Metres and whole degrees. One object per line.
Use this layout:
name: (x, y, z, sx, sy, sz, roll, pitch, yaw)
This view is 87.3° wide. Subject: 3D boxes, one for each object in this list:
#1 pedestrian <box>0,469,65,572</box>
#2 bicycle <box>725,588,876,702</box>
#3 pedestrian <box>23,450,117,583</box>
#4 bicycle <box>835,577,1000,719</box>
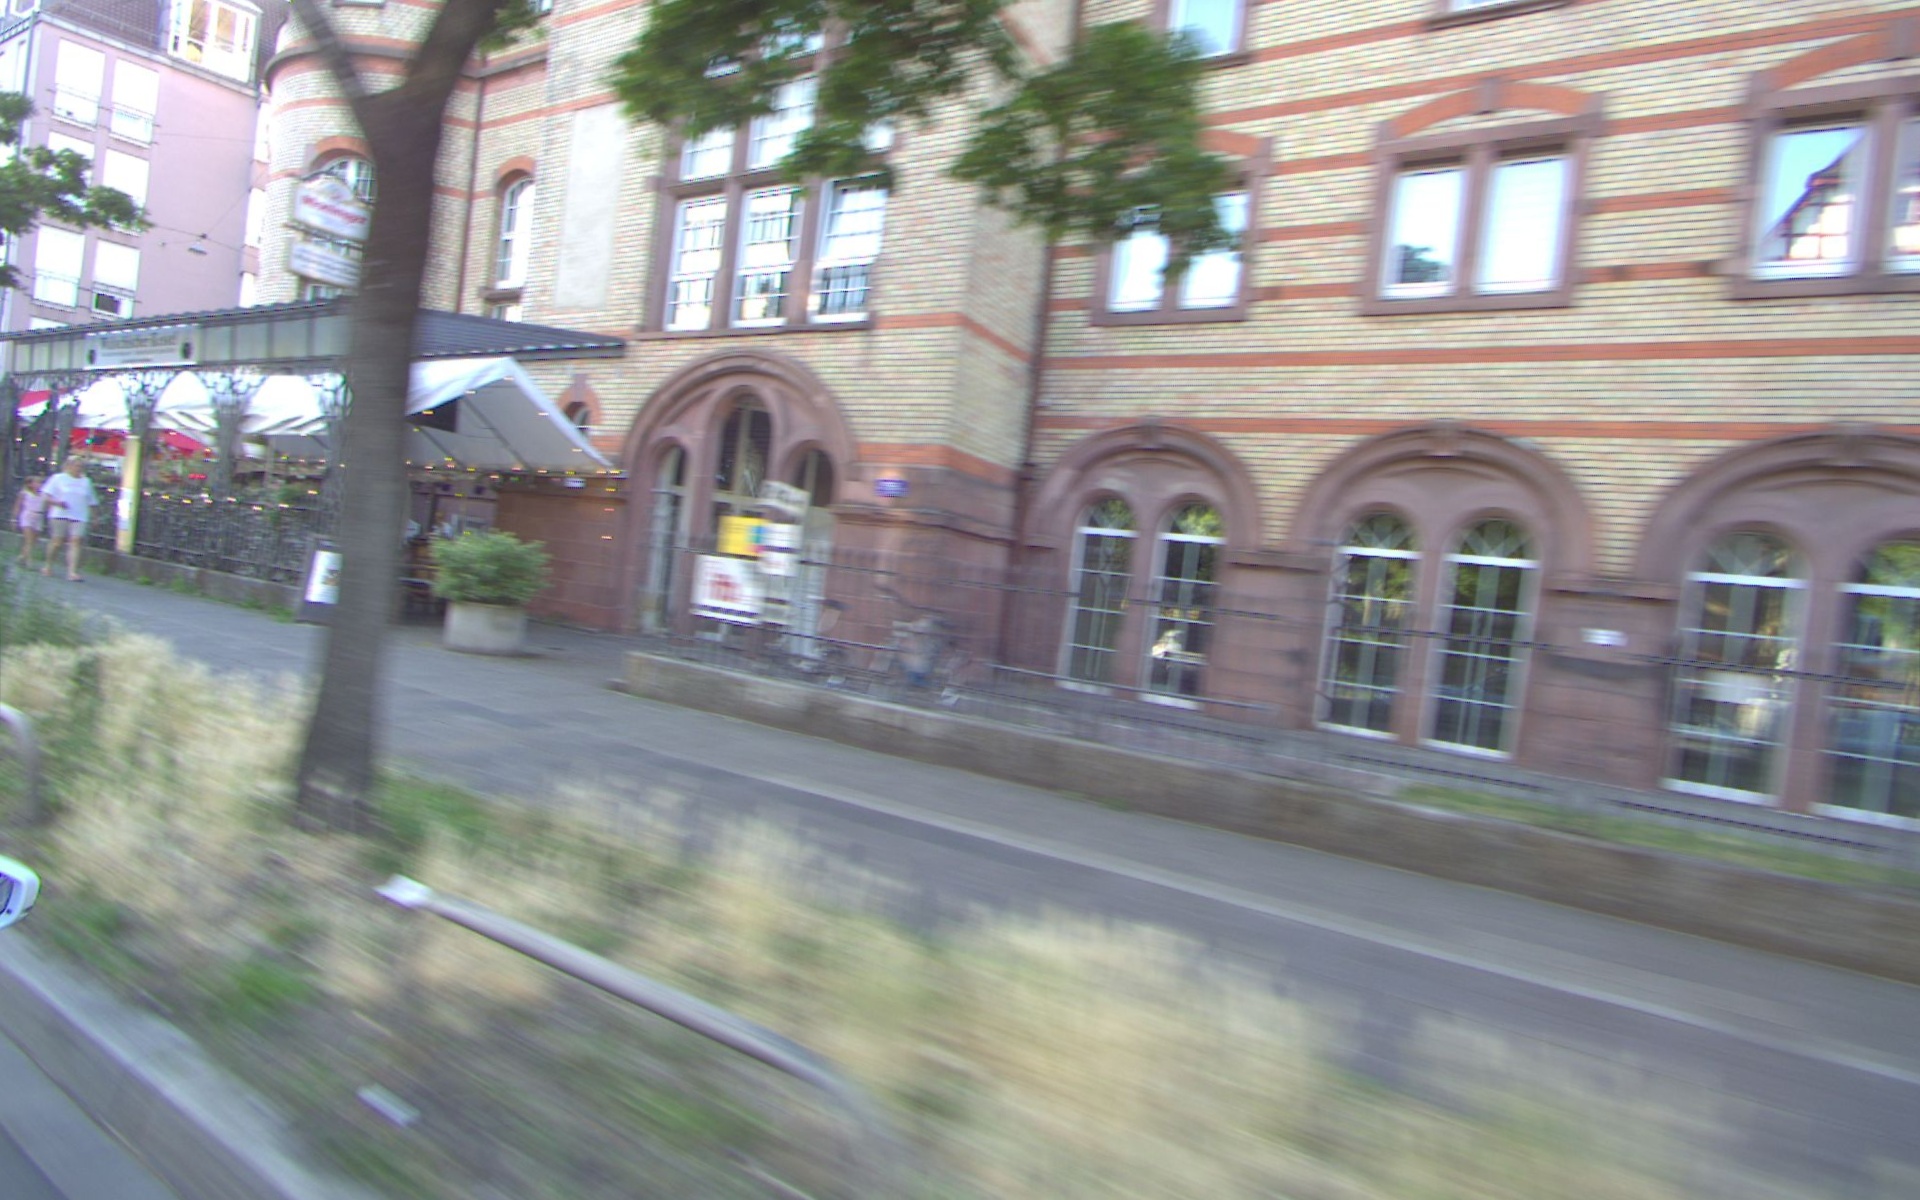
pedestrian: (-13.214, -1.123, 14.313, 0.521, 1.366, 0.467, 7, -1, 32)
bicycle: (-1.520, 0.464, 9.814, 0.526, 0.957, 1.448, 7, -2, 32)
pedestrian: (-12.008, -1.120, 13.578, 0.645, 1.652, 0.646, 7, -1, 32)
bicycle: (-0.343, 0.481, 9.228, 0.485, 1.150, 1.736, 7, -1, 32)
